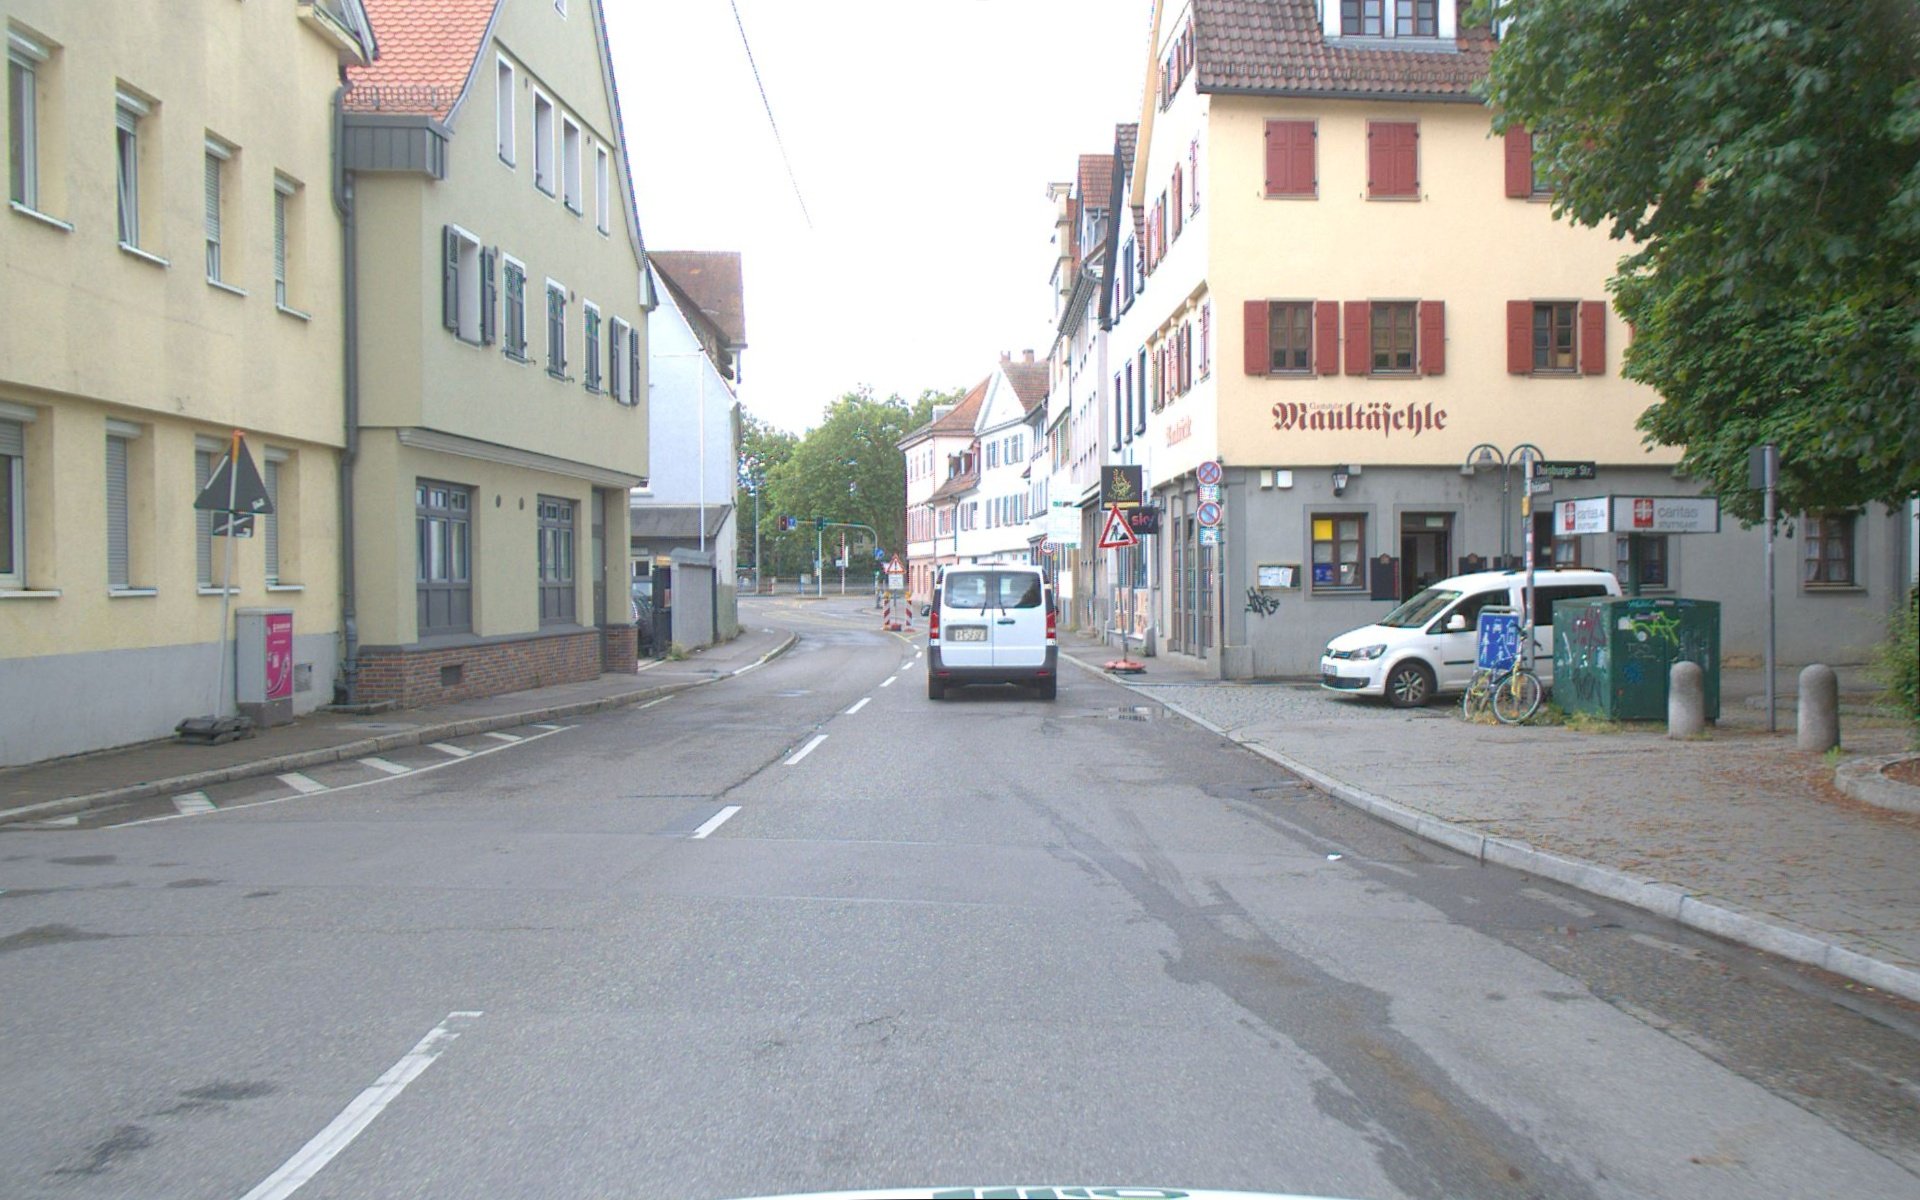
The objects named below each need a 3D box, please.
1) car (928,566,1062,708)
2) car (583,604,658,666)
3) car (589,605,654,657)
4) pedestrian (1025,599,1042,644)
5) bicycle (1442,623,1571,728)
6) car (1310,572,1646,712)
[{"bbox_3d":[0.526,0.504,24.690,1.834,1.945,4.001,0,0,1],"label":"car"},{"bbox_3d":[-8.088,0.794,39.227,1.617,1.378,3.986,0,0,-14],"label":"car"},{"bbox_3d":[-9.405,0.834,45.773,1.617,1.378,3.986,1,0,-14],"label":"car"},{"bbox_3d":[2.974,0.865,66.722,0.630,1.777,0.562,1,-1,-4],"label":"pedestrian"},{"bbox_3d":[6.231,0.839,18.945,0.492,1.126,1.628,-1,0,-20],"label":"bicycle"},{"bbox_3d":[7.265,0.544,23.411,4.162,1.829,1.845,-1,2,-8],"label":"car"}]
